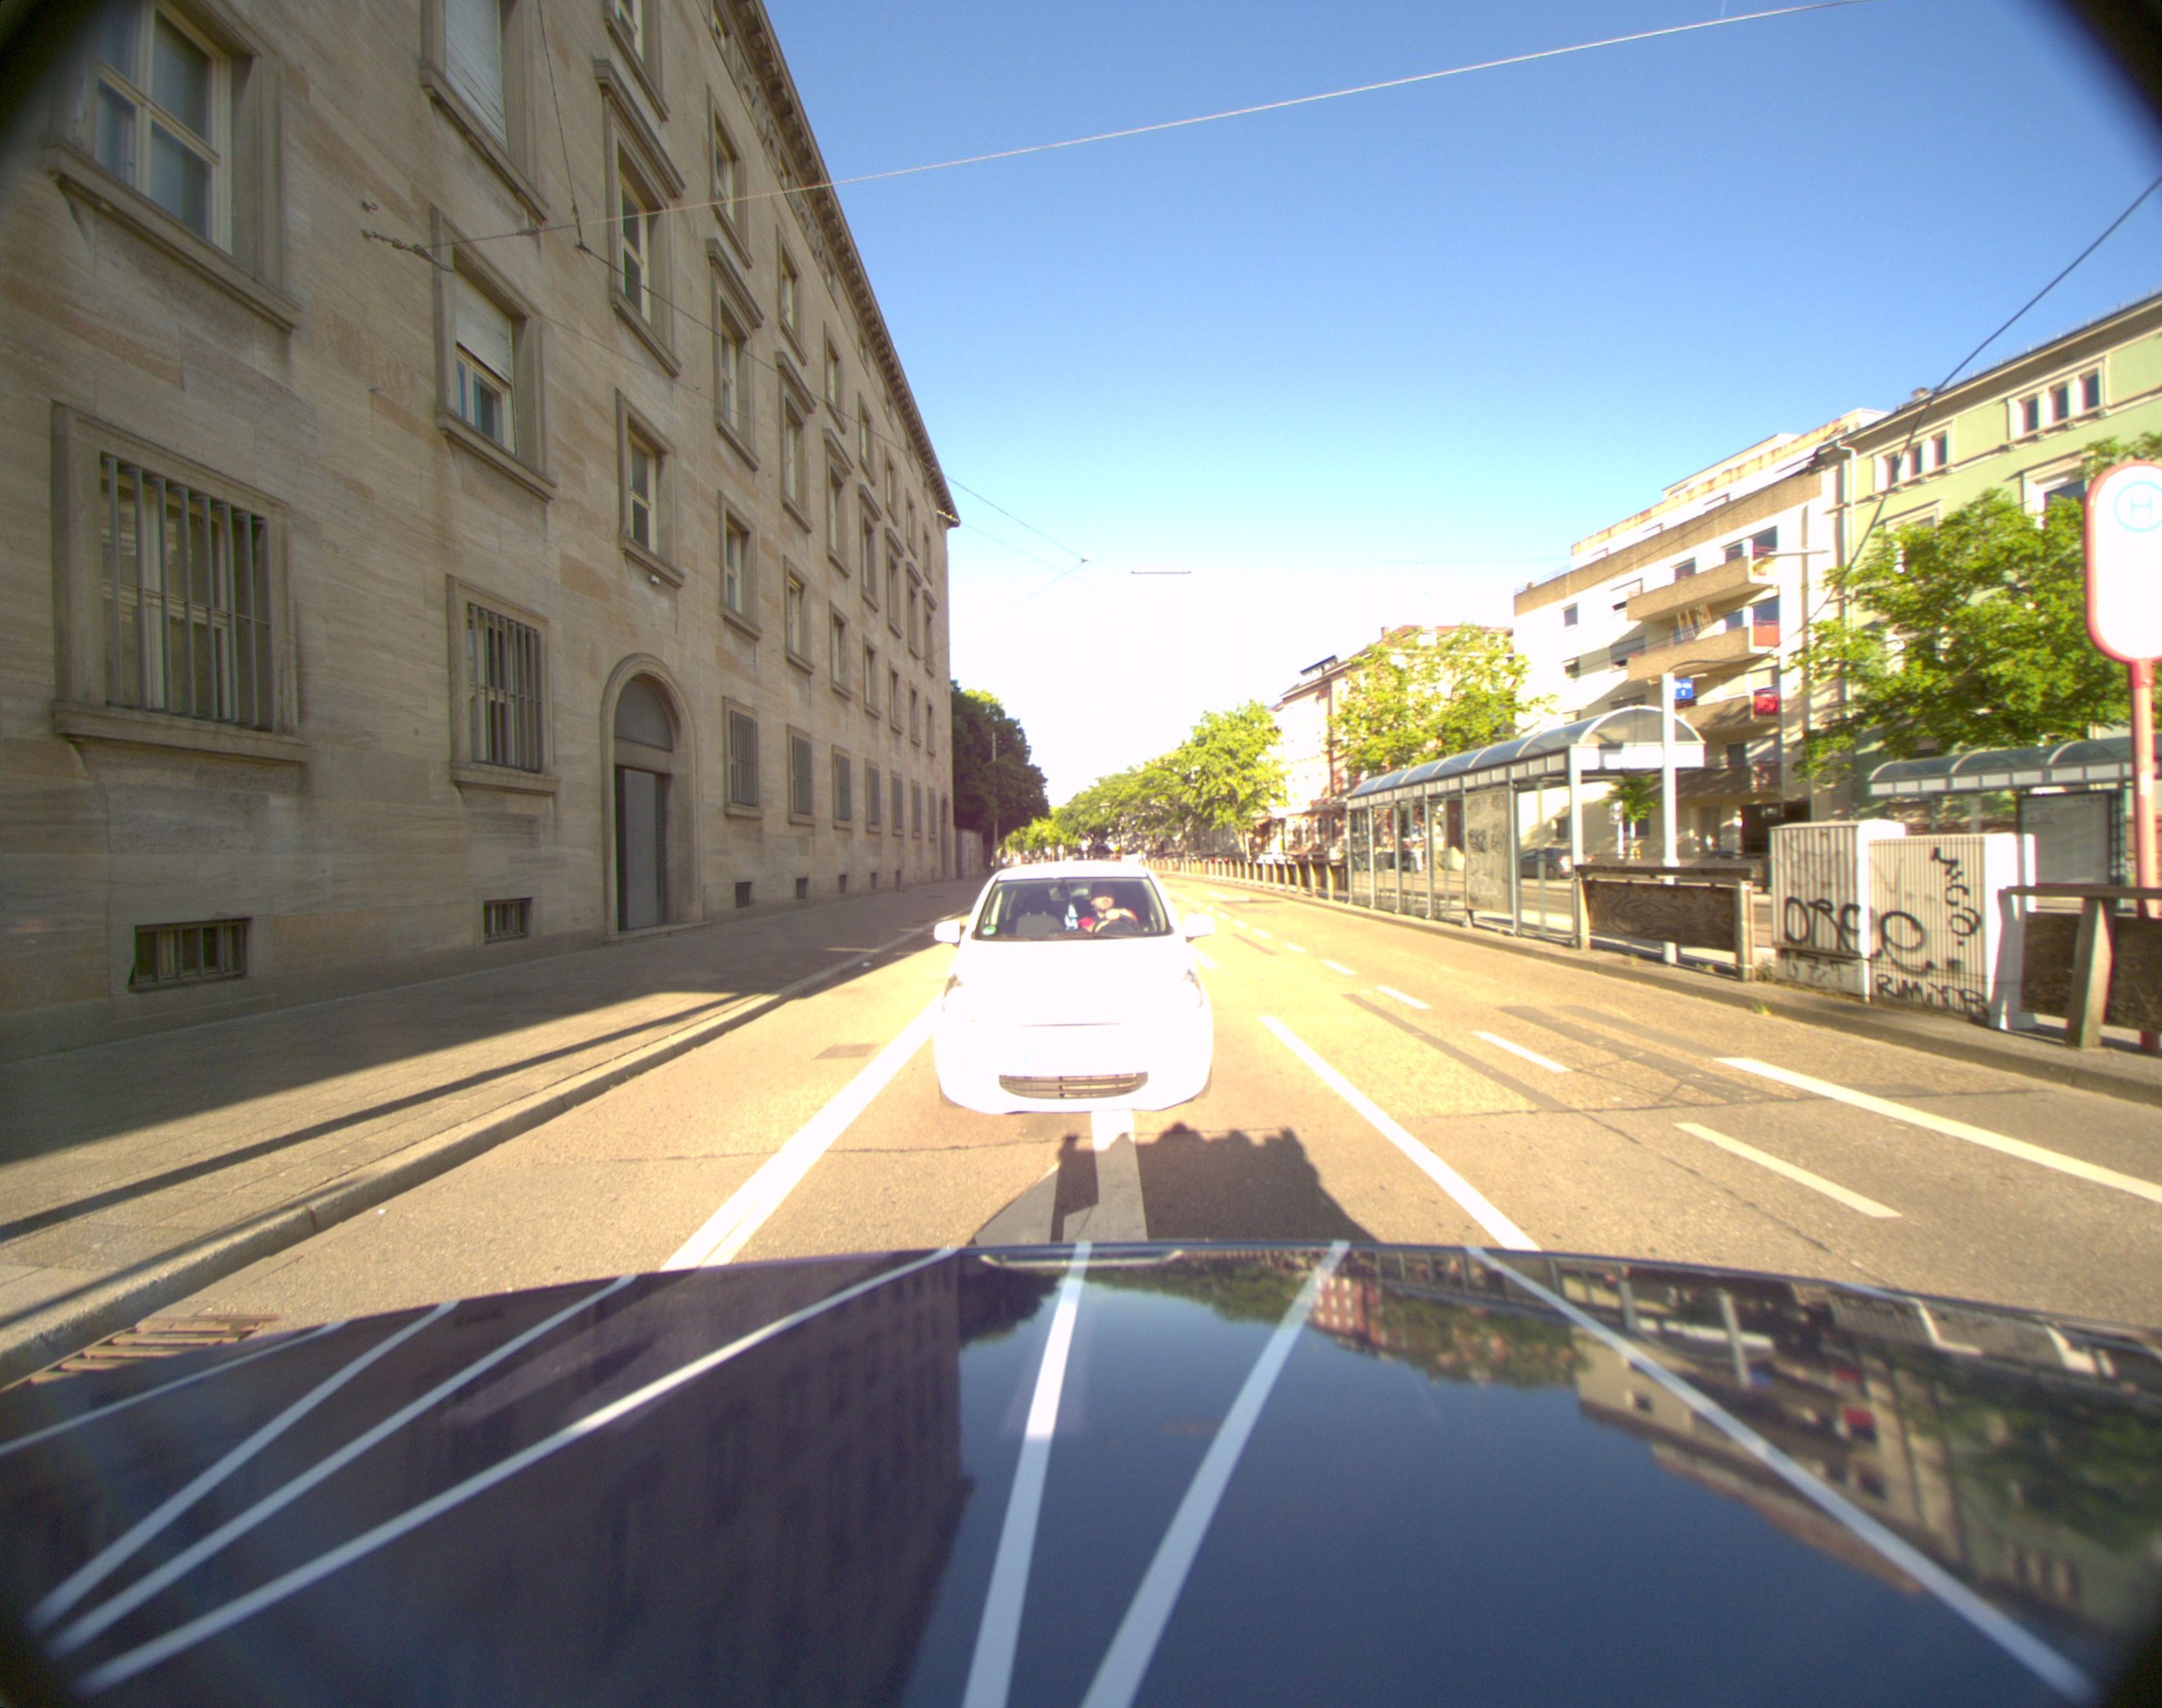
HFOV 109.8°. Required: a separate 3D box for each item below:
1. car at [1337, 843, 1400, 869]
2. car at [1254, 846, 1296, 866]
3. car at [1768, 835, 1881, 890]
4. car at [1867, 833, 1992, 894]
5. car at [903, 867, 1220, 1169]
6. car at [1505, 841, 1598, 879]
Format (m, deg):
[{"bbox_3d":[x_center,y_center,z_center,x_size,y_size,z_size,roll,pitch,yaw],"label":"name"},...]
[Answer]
[{"bbox_3d":[19.539,0.128,51.720,3.599,1.558,1.630,-2,1,-7],"label":"car"},{"bbox_3d":[16.253,0.159,63.474,3.607,1.558,1.627,-3,1,-42],"label":"car"},{"bbox_3d":[23.880,0.227,24.400,3.605,1.558,1.627,-3,1,-29],"label":"car"},{"bbox_3d":[24.459,0.233,21.887,3.605,1.558,1.627,-3,1,-29],"label":"car"},{"bbox_3d":[-0.077,0.895,5.805,1.612,1.462,3.631,-2,0,1],"label":"car"},{"bbox_3d":[20.911,0.234,33.929,1.631,1.558,3.598,-2,1,-5],"label":"car"}]
